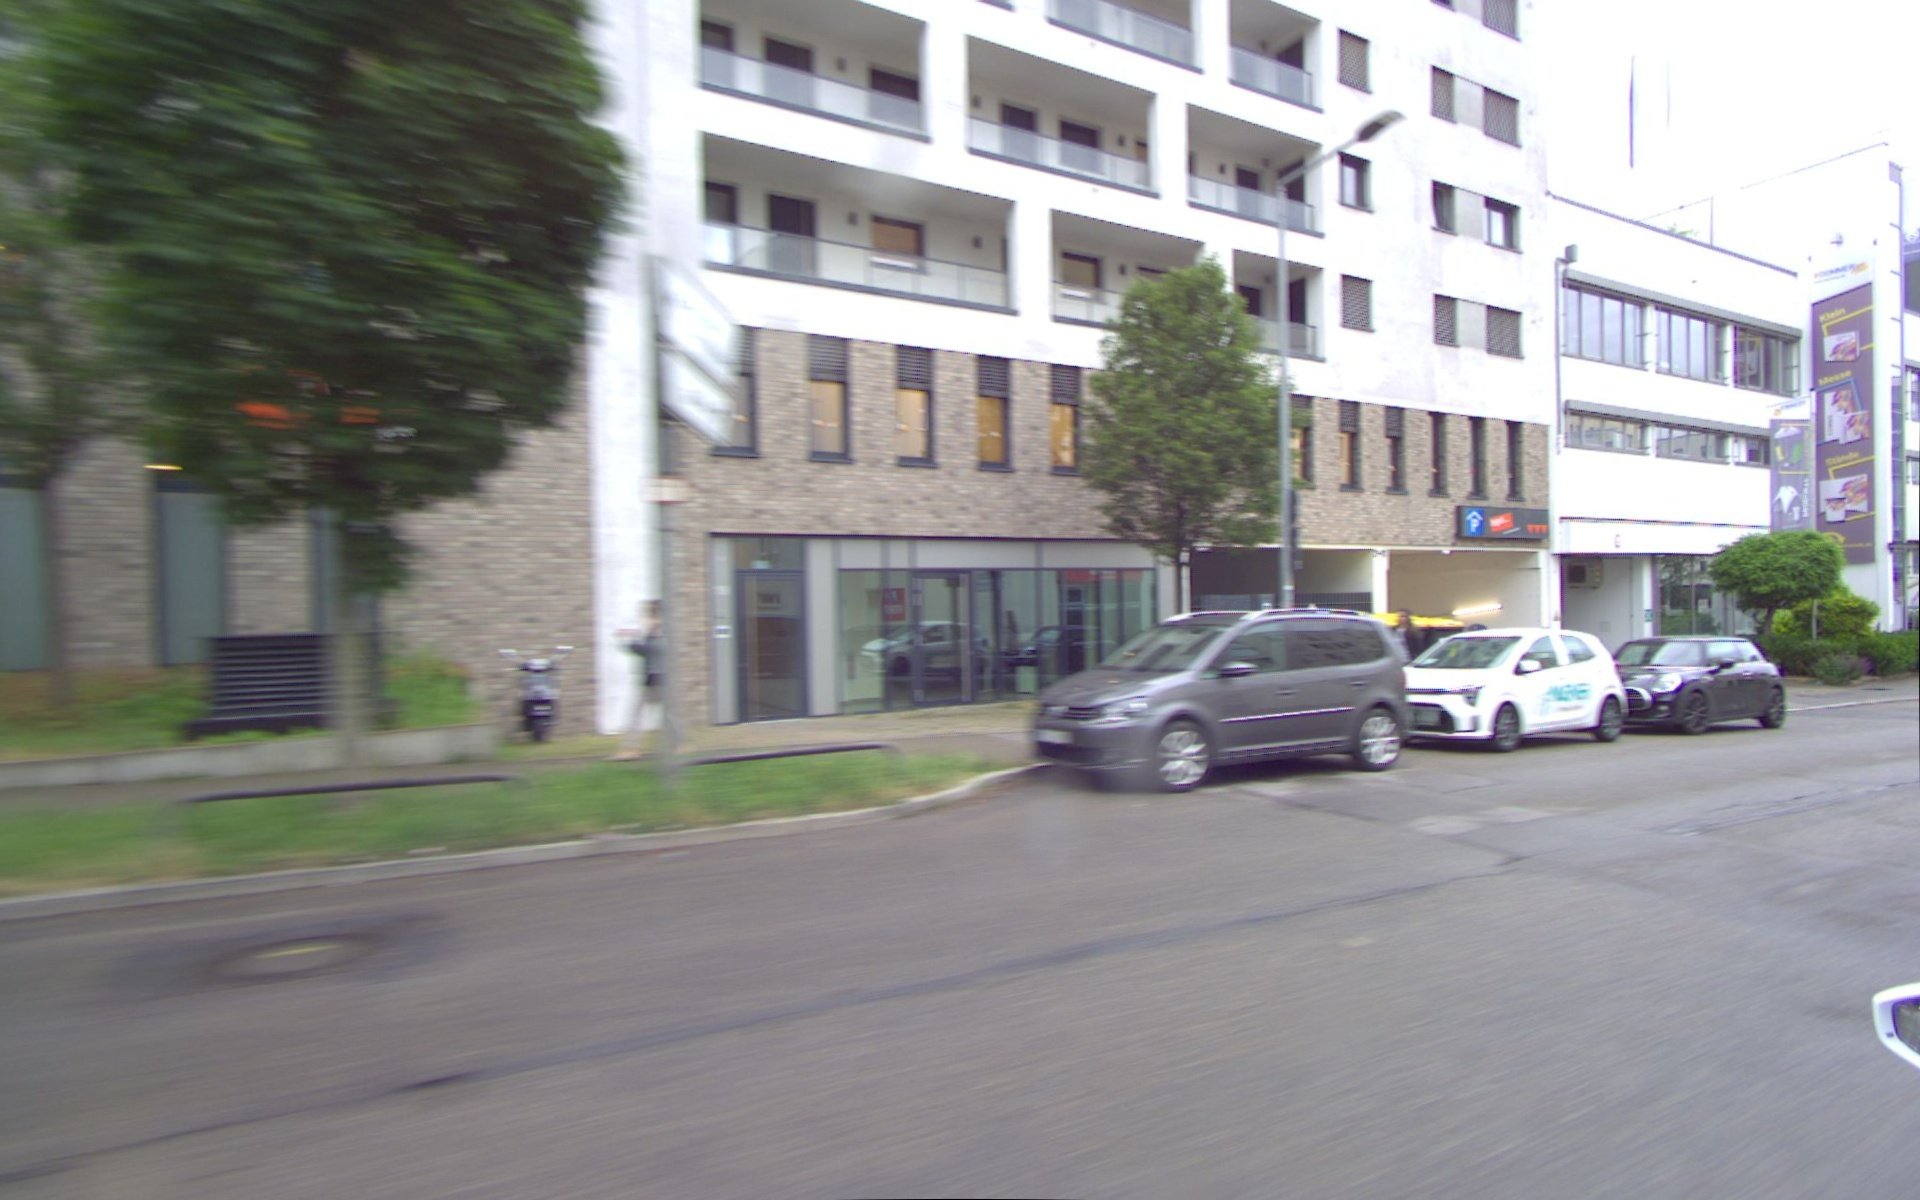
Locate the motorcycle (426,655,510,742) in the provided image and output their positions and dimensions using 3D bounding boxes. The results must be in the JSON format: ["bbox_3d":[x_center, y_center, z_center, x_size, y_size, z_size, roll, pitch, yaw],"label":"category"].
[{"bbox_3d":[-5.620,1.084,11.563,0.707,0.818,2.000,1,-1,-22],"label":"motorcycle"}]

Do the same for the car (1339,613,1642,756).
[{"bbox_3d":[7.078,1.016,13.330,3.985,1.622,1.764,1,0,-31],"label":"car"}]

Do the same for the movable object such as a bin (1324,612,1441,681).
[{"bbox_3d":[9.530,1.019,22.716,1.303,1.442,2.041,1,0,-33],"label":"movable object such as a bin"}]

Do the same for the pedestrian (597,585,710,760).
[{"bbox_3d":[-3.167,0.718,10.377,0.947,1.705,0.704,1,0,-34],"label":"pedestrian"}]

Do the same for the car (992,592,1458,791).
[{"bbox_3d":[2.813,0.807,10.382,4.633,1.630,2.066,1,-2,-32],"label":"car"}]

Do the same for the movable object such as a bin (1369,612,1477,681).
[{"bbox_3d":[10.777,1.080,23.438,1.466,1.530,1.785,1,-2,-33],"label":"movable object such as a bin"}]

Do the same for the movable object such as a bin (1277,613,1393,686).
[{"bbox_3d":[8.251,1.053,22.167,1.276,1.449,2.014,1,1,-33],"label":"movable object such as a bin"}]

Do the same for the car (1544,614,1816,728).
[{"bbox_3d":[11.186,1.048,15.558,4.194,1.536,1.789,2,-1,-29],"label":"car"}]
